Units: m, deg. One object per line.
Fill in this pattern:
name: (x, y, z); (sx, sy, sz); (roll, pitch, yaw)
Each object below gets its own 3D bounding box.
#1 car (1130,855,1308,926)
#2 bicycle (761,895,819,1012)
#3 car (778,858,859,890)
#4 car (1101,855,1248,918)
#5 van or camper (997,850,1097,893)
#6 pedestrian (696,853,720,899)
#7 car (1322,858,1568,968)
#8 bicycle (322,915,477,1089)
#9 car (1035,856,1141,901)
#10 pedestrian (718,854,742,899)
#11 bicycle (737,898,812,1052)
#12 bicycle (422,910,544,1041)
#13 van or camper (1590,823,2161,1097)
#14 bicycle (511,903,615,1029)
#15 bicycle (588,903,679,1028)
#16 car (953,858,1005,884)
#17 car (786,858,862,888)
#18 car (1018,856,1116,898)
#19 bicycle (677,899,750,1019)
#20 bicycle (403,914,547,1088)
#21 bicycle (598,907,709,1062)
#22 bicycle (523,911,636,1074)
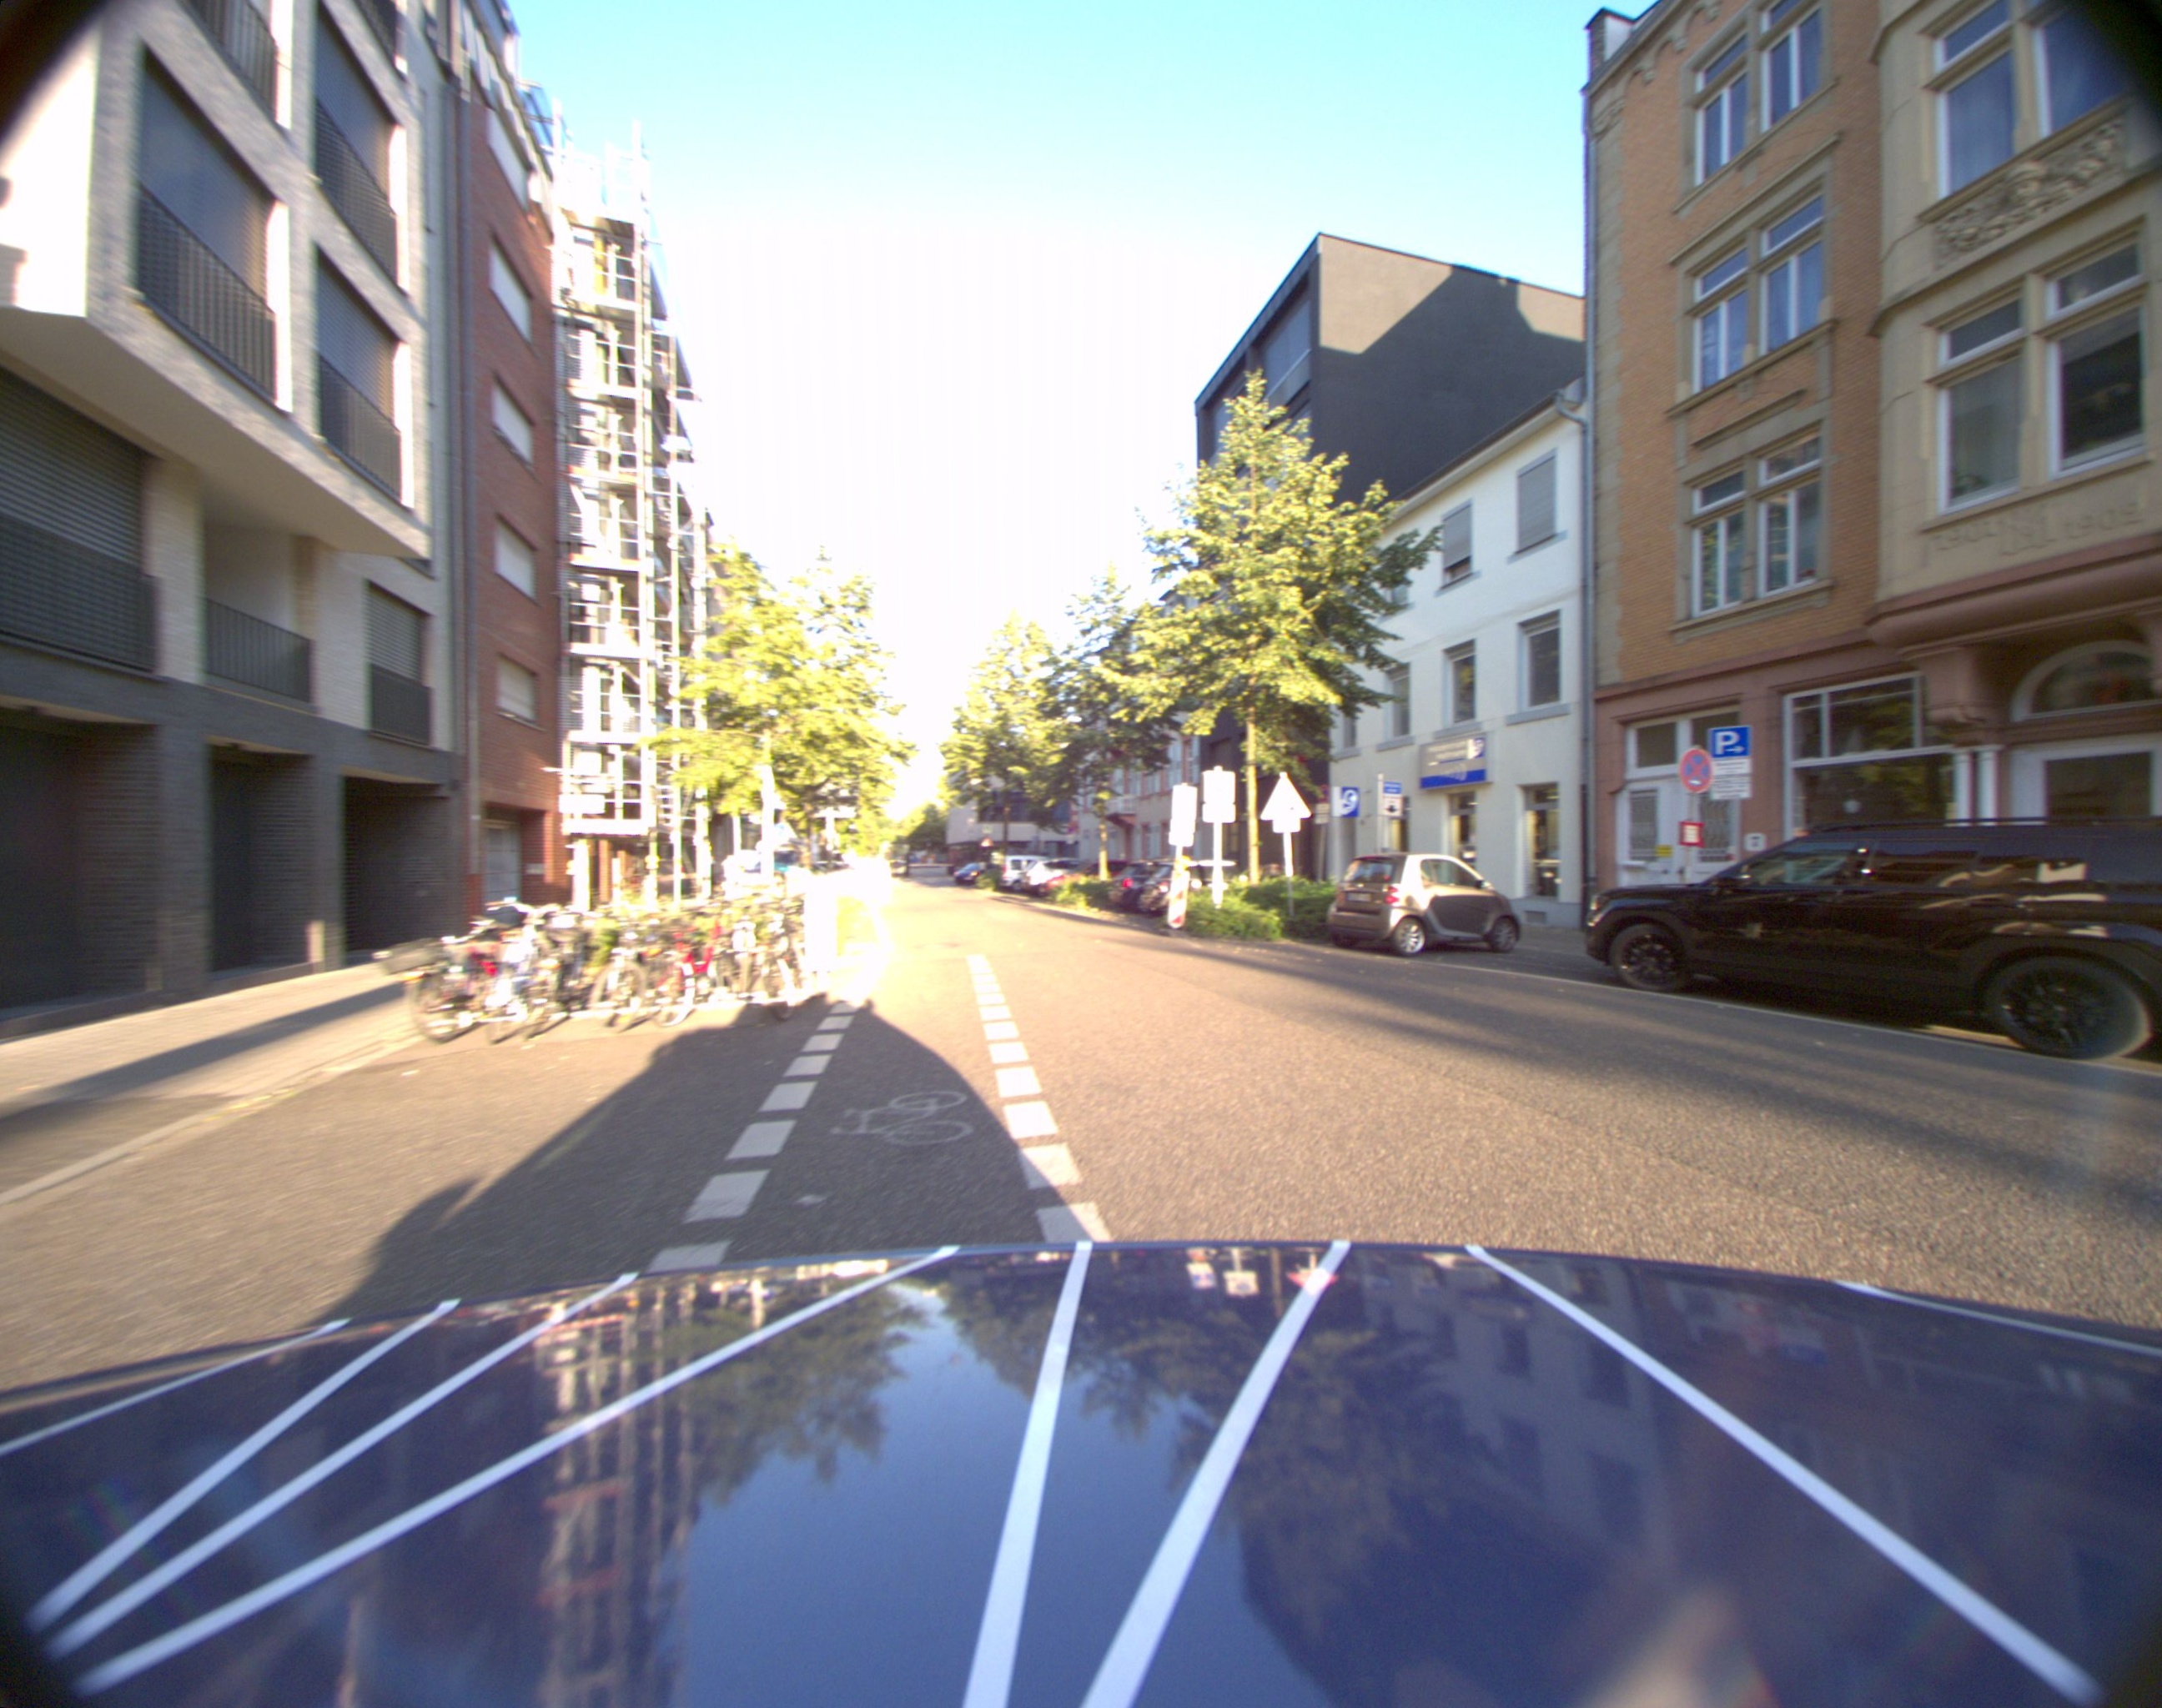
car: (3.471, 0.892, 19.276); (4.012, 1.660, 1.855); (1, 0, -19)
bicycle: (-3.386, 1.105, 8.926); (0.509, 1.172, 1.550); (0, 0, -16)
car: (-14.201, 1.061, 41.281); (4.002, 1.674, 1.888); (0, 0, -14)
car: (2.633, 0.907, 21.658); (3.700, 1.660, 1.855); (1, 0, -19)
van or camper: (-1.666, 0.855, 36.833); (4.459, 1.993, 1.855); (1, 0, -19)
pedestrian: (-14.826, 0.861, 30.195); (0.744, 1.773, 0.655); (-1, 1, -16)
car: (5.771, 0.844, 12.099); (3.484, 1.566, 1.505); (0, 0, -19)
bicycle: (-5.632, 1.156, 6.362); (0.388, 1.176, 1.403); (0, 0, -16)
car: (0.265, 0.947, 29.526); (3.700, 1.660, 1.855); (1, 0, -19)
pedestrian: (-14.075, 0.904, 30.479); (0.744, 1.773, 0.655); (-1, 1, -18)
bicycle: (-2.877, 1.071, 7.229); (0.499, 1.213, 1.550); (0, 0, -16)
bicycle: (-6.222, 1.209, 7.989); (0.459, 1.125, 1.550); (0, 0, -16)
van or camper: (7.388, 0.704, 6.748); (1.898, 1.797, 4.452); (0, 0, -22)
bicycle: (-5.563, 1.150, 8.240); (0.469, 1.137, 1.550); (0, 0, -16)
bicycle: (-4.859, 1.158, 8.332); (0.489, 1.143, 1.550); (0, 0, -16)
car: (-6.463, 1.054, 48.453); (1.854, 1.559, 3.702); (1, 0, 17)
car: (-14.796, 1.087, 43.908); (4.002, 1.674, 1.888); (0, 0, -14)
car: (-0.611, 0.959, 31.883); (3.700, 1.660, 1.855); (1, 0, -19)
bicycle: (-4.160, 1.136, 8.684); (0.489, 1.156, 1.550); (0, 0, -16)
bicycle: (-5.105, 1.168, 6.495); (0.387, 1.182, 1.550); (0, 0, -16)
bicycle: (-3.840, 1.108, 6.926); (0.418, 1.150, 1.550); (0, 0, -11)
bicycle: (-4.366, 1.135, 6.702); (0.382, 1.153, 1.550); (0, 0, -16)
